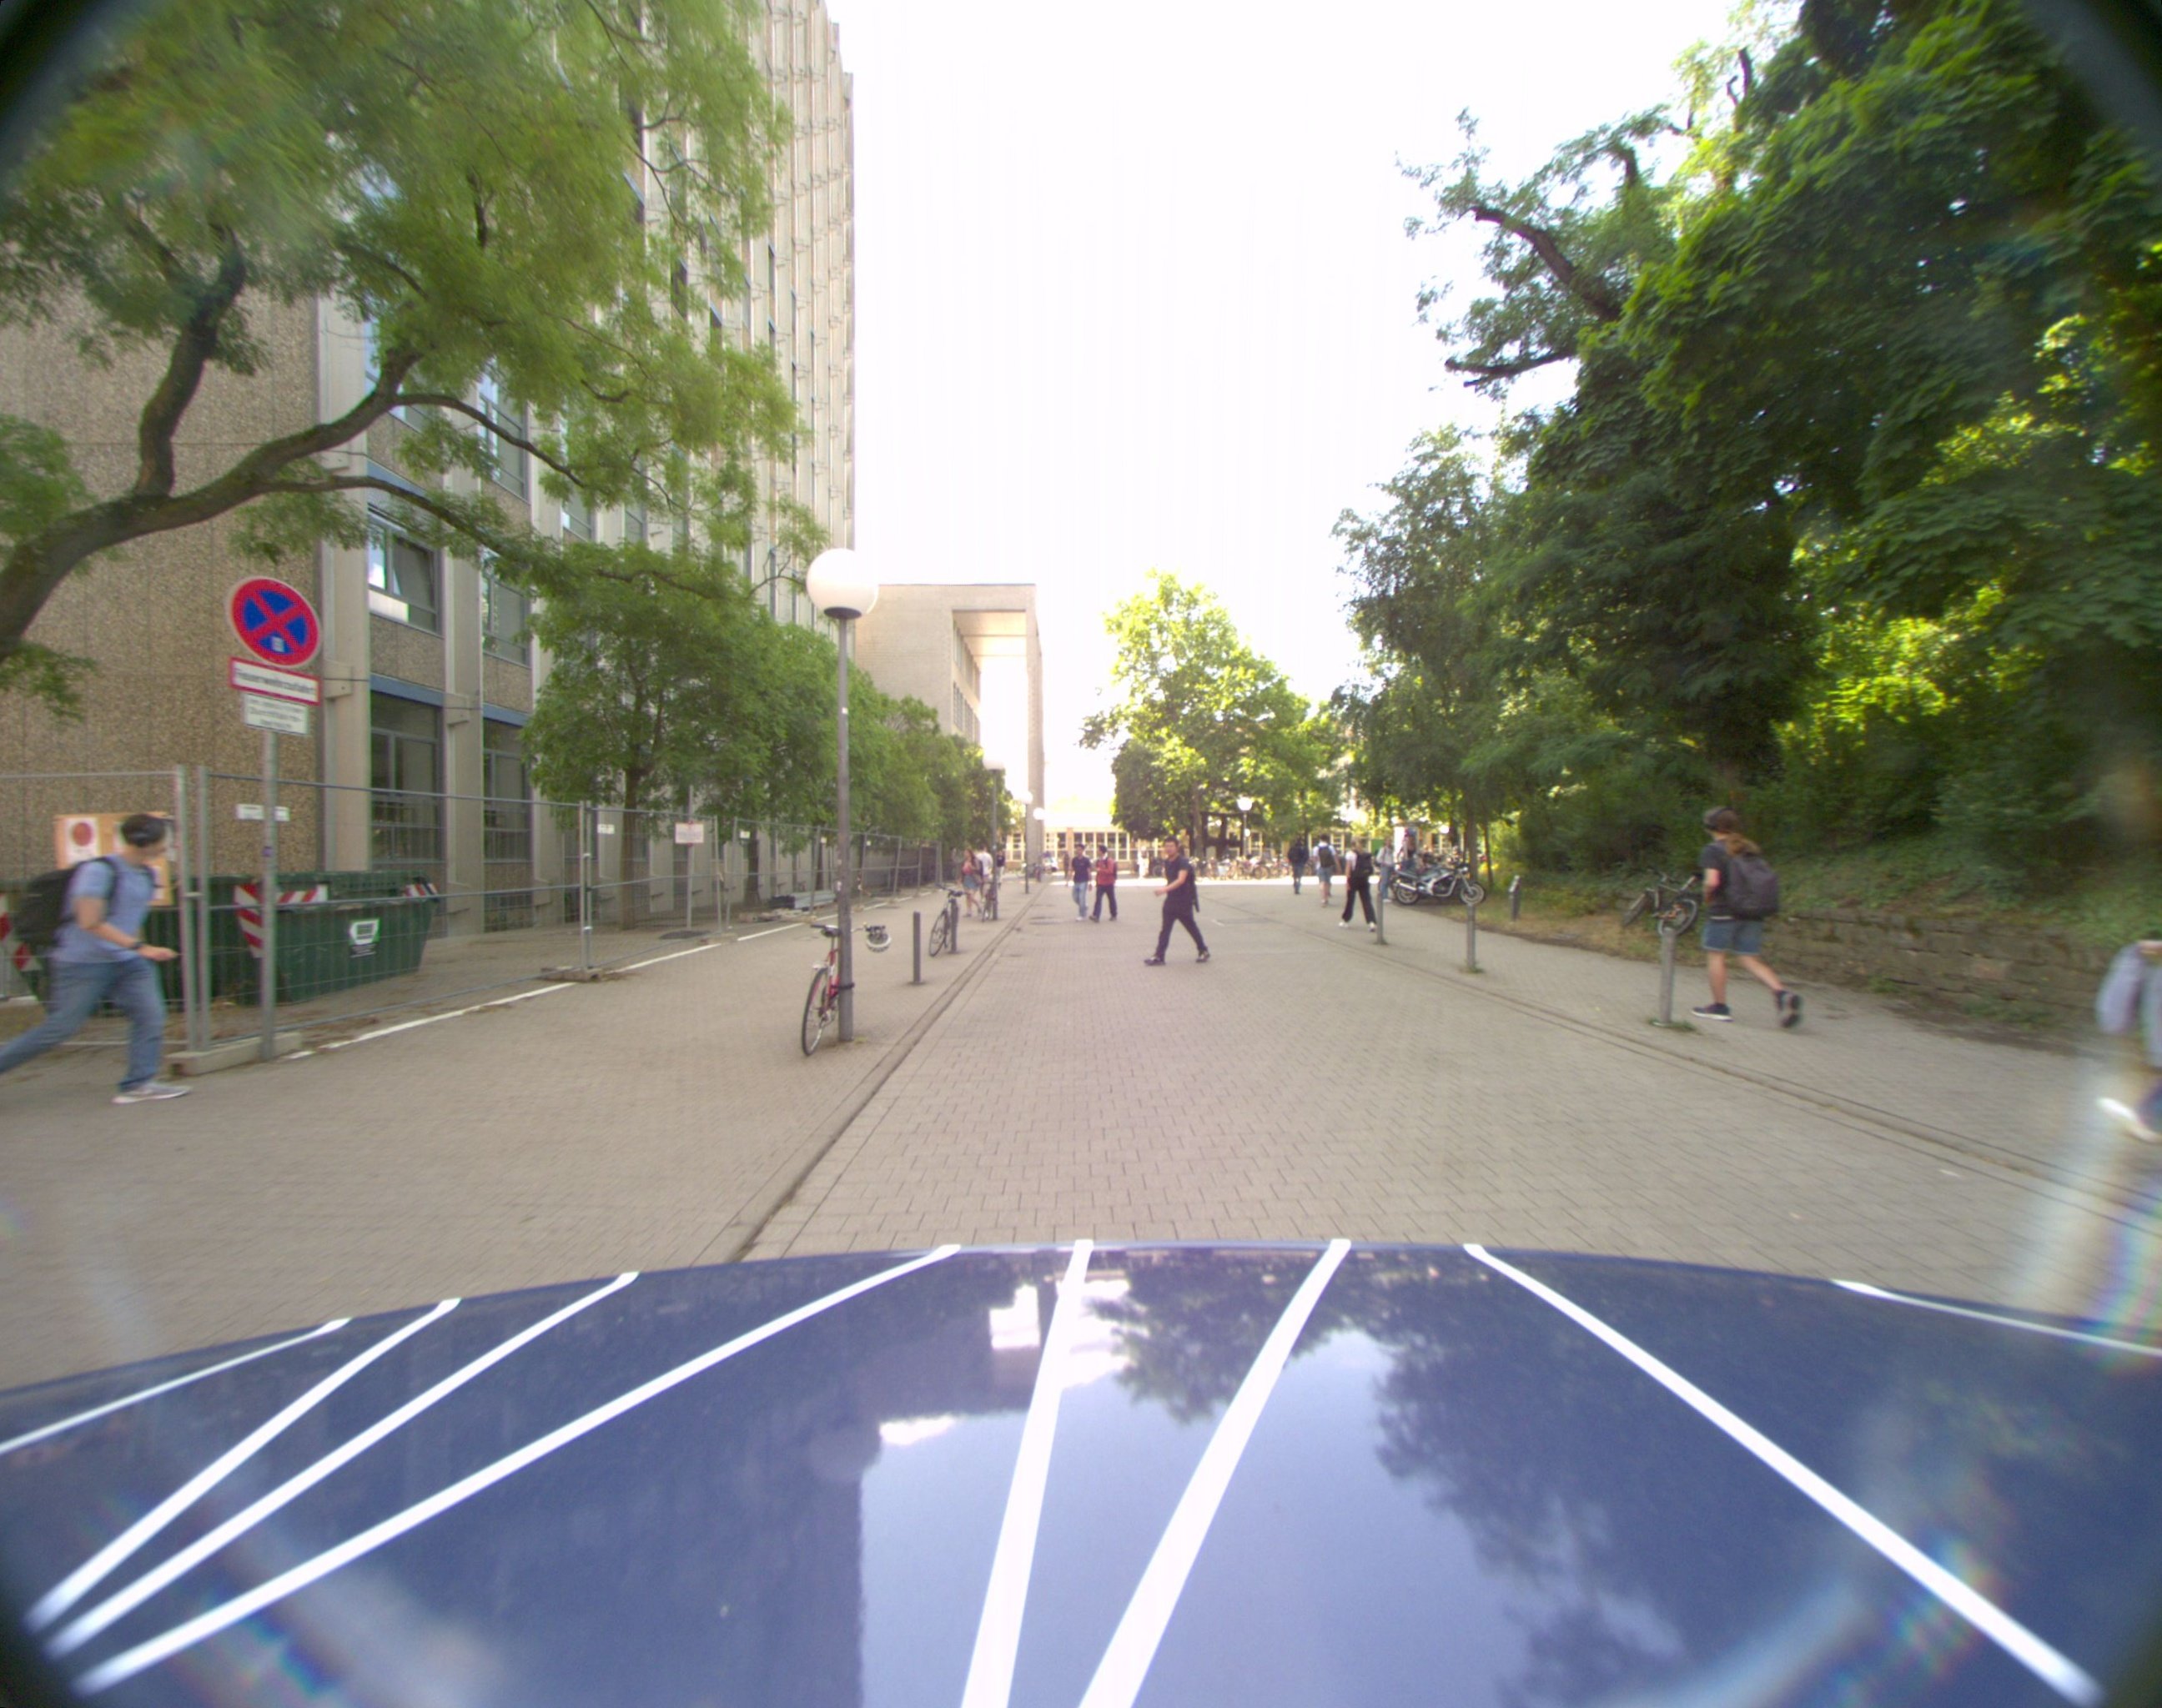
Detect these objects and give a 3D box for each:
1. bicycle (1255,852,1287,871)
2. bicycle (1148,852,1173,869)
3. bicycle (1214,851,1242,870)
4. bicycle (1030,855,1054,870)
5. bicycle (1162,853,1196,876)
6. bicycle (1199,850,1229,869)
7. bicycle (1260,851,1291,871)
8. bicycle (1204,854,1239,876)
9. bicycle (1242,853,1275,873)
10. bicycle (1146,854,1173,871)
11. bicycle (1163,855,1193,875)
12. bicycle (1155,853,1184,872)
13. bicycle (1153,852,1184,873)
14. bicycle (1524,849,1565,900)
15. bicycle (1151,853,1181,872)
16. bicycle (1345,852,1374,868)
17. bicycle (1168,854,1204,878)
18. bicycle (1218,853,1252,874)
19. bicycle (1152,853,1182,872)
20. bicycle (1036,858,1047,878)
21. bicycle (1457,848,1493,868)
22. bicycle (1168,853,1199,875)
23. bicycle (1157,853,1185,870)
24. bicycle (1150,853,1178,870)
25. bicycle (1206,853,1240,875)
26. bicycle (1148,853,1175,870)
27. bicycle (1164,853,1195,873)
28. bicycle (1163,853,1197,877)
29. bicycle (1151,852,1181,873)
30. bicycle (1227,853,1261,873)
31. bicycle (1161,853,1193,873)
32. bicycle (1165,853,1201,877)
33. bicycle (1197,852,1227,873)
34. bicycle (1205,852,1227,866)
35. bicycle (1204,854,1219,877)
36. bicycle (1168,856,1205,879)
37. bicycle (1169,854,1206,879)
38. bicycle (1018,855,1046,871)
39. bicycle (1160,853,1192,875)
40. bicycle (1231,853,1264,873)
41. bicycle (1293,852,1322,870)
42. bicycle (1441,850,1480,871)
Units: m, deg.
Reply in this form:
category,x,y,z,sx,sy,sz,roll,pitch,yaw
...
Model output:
category,x,y,z,sx,sy,sz,roll,pitch,yaw
bicycle,10.670,0.410,42.740,1.695,1.077,0.475,0,1,35
bicycle,5.411,0.470,51.910,1.627,1.137,0.497,-1,1,13
bicycle,9.352,0.409,48.389,1.695,1.193,0.577,0,1,35
bicycle,-3.127,0.657,61.166,1.886,1.157,0.605,1,0,-5
bicycle,5.087,0.554,39.418,1.701,1.162,0.473,-1,1,-17
bicycle,7.845,0.304,44.891,1.700,1.102,0.502,-1,1,-12
bicycle,11.192,0.401,43.726,1.695,1.077,0.475,0,1,35
bicycle,7.084,0.544,38.363,1.697,1.077,0.474,-1,1,12
bicycle,9.653,0.485,41.440,1.695,1.077,0.475,0,1,35
bicycle,5.278,0.555,51.257,1.737,1.102,0.575,-1,1,18
bicycle,5.183,0.584,40.666,1.702,1.013,0.473,-2,1,-35
bicycle,5.299,0.514,45.545,1.700,1.102,0.473,-1,1,-12
bicycle,5.130,0.515,44.571,1.699,1.192,0.536,-1,1,-9
bicycle,10.445,0.434,17.176,0.473,1.041,1.702,-2,1,21
bicycle,5.206,0.537,46.527,1.700,1.102,0.496,-1,1,-11
bicycle,18.777,0.408,51.193,0.475,1.077,1.854,-2,1,-38
bicycle,5.159,0.591,37.314,1.699,1.162,0.474,-1,1,-6
bicycle,8.121,0.484,40.108,1.695,1.077,0.475,0,1,35
bicycle,5.193,0.508,46.001,1.700,1.139,0.473,-1,1,-12
bicycle,-2.192,0.761,42.051,0.538,1.033,1.858,0,1,-1
bicycle,22.487,0.206,43.356,1.773,1.104,0.518,0,1,41
bicycle,5.623,0.529,41.521,1.702,1.151,0.473,-1,1,-28
bicycle,5.822,0.484,49.117,1.743,1.102,0.496,-1,1,-24
bicycle,5.413,0.480,49.764,1.740,1.120,0.497,-1,1,-5
bicycle,7.365,0.513,39.438,1.696,1.077,0.474,-1,1,13
bicycle,5.319,0.482,50.383,1.739,1.102,0.497,-1,1,0
bicycle,5.670,0.492,43.745,1.700,1.102,0.565,-1,1,-12
bicycle,5.063,0.541,38.875,1.700,1.162,0.473,-1,1,-13
bicycle,5.269,0.504,47.006,1.740,1.229,0.496,-1,1,-8
bicycle,8.854,0.491,41.300,1.695,1.077,0.475,0,1,31
bicycle,5.399,0.513,42.662,1.700,1.102,0.582,-1,1,-12
bicycle,5.127,0.557,38.165,1.778,1.162,0.474,-1,1,12
bicycle,7.942,0.485,45.955,1.700,1.213,0.502,-1,1,-12
bicycle,11.500,0.432,64.781,1.839,1.102,0.393,-1,1,-7
bicycle,6.395,0.564,37.241,0.508,1.077,1.700,-1,1,3
bicycle,5.072,0.647,36.553,1.699,1.085,0.474,-1,1,-6
bicycle,5.051,0.601,36.083,1.700,1.152,0.473,-1,1,-9
bicycle,-3.136,0.581,48.804,1.744,1.033,0.449,0,0,-5
bicycle,5.386,0.570,43.192,1.700,1.181,0.473,-1,1,-12
bicycle,8.912,0.482,40.688,1.695,1.077,0.475,0,1,31
bicycle,13.748,0.428,46.187,0.475,1.077,1.695,-2,1,-38
bicycle,20.349,0.364,40.753,1.773,1.104,0.518,0,1,41
